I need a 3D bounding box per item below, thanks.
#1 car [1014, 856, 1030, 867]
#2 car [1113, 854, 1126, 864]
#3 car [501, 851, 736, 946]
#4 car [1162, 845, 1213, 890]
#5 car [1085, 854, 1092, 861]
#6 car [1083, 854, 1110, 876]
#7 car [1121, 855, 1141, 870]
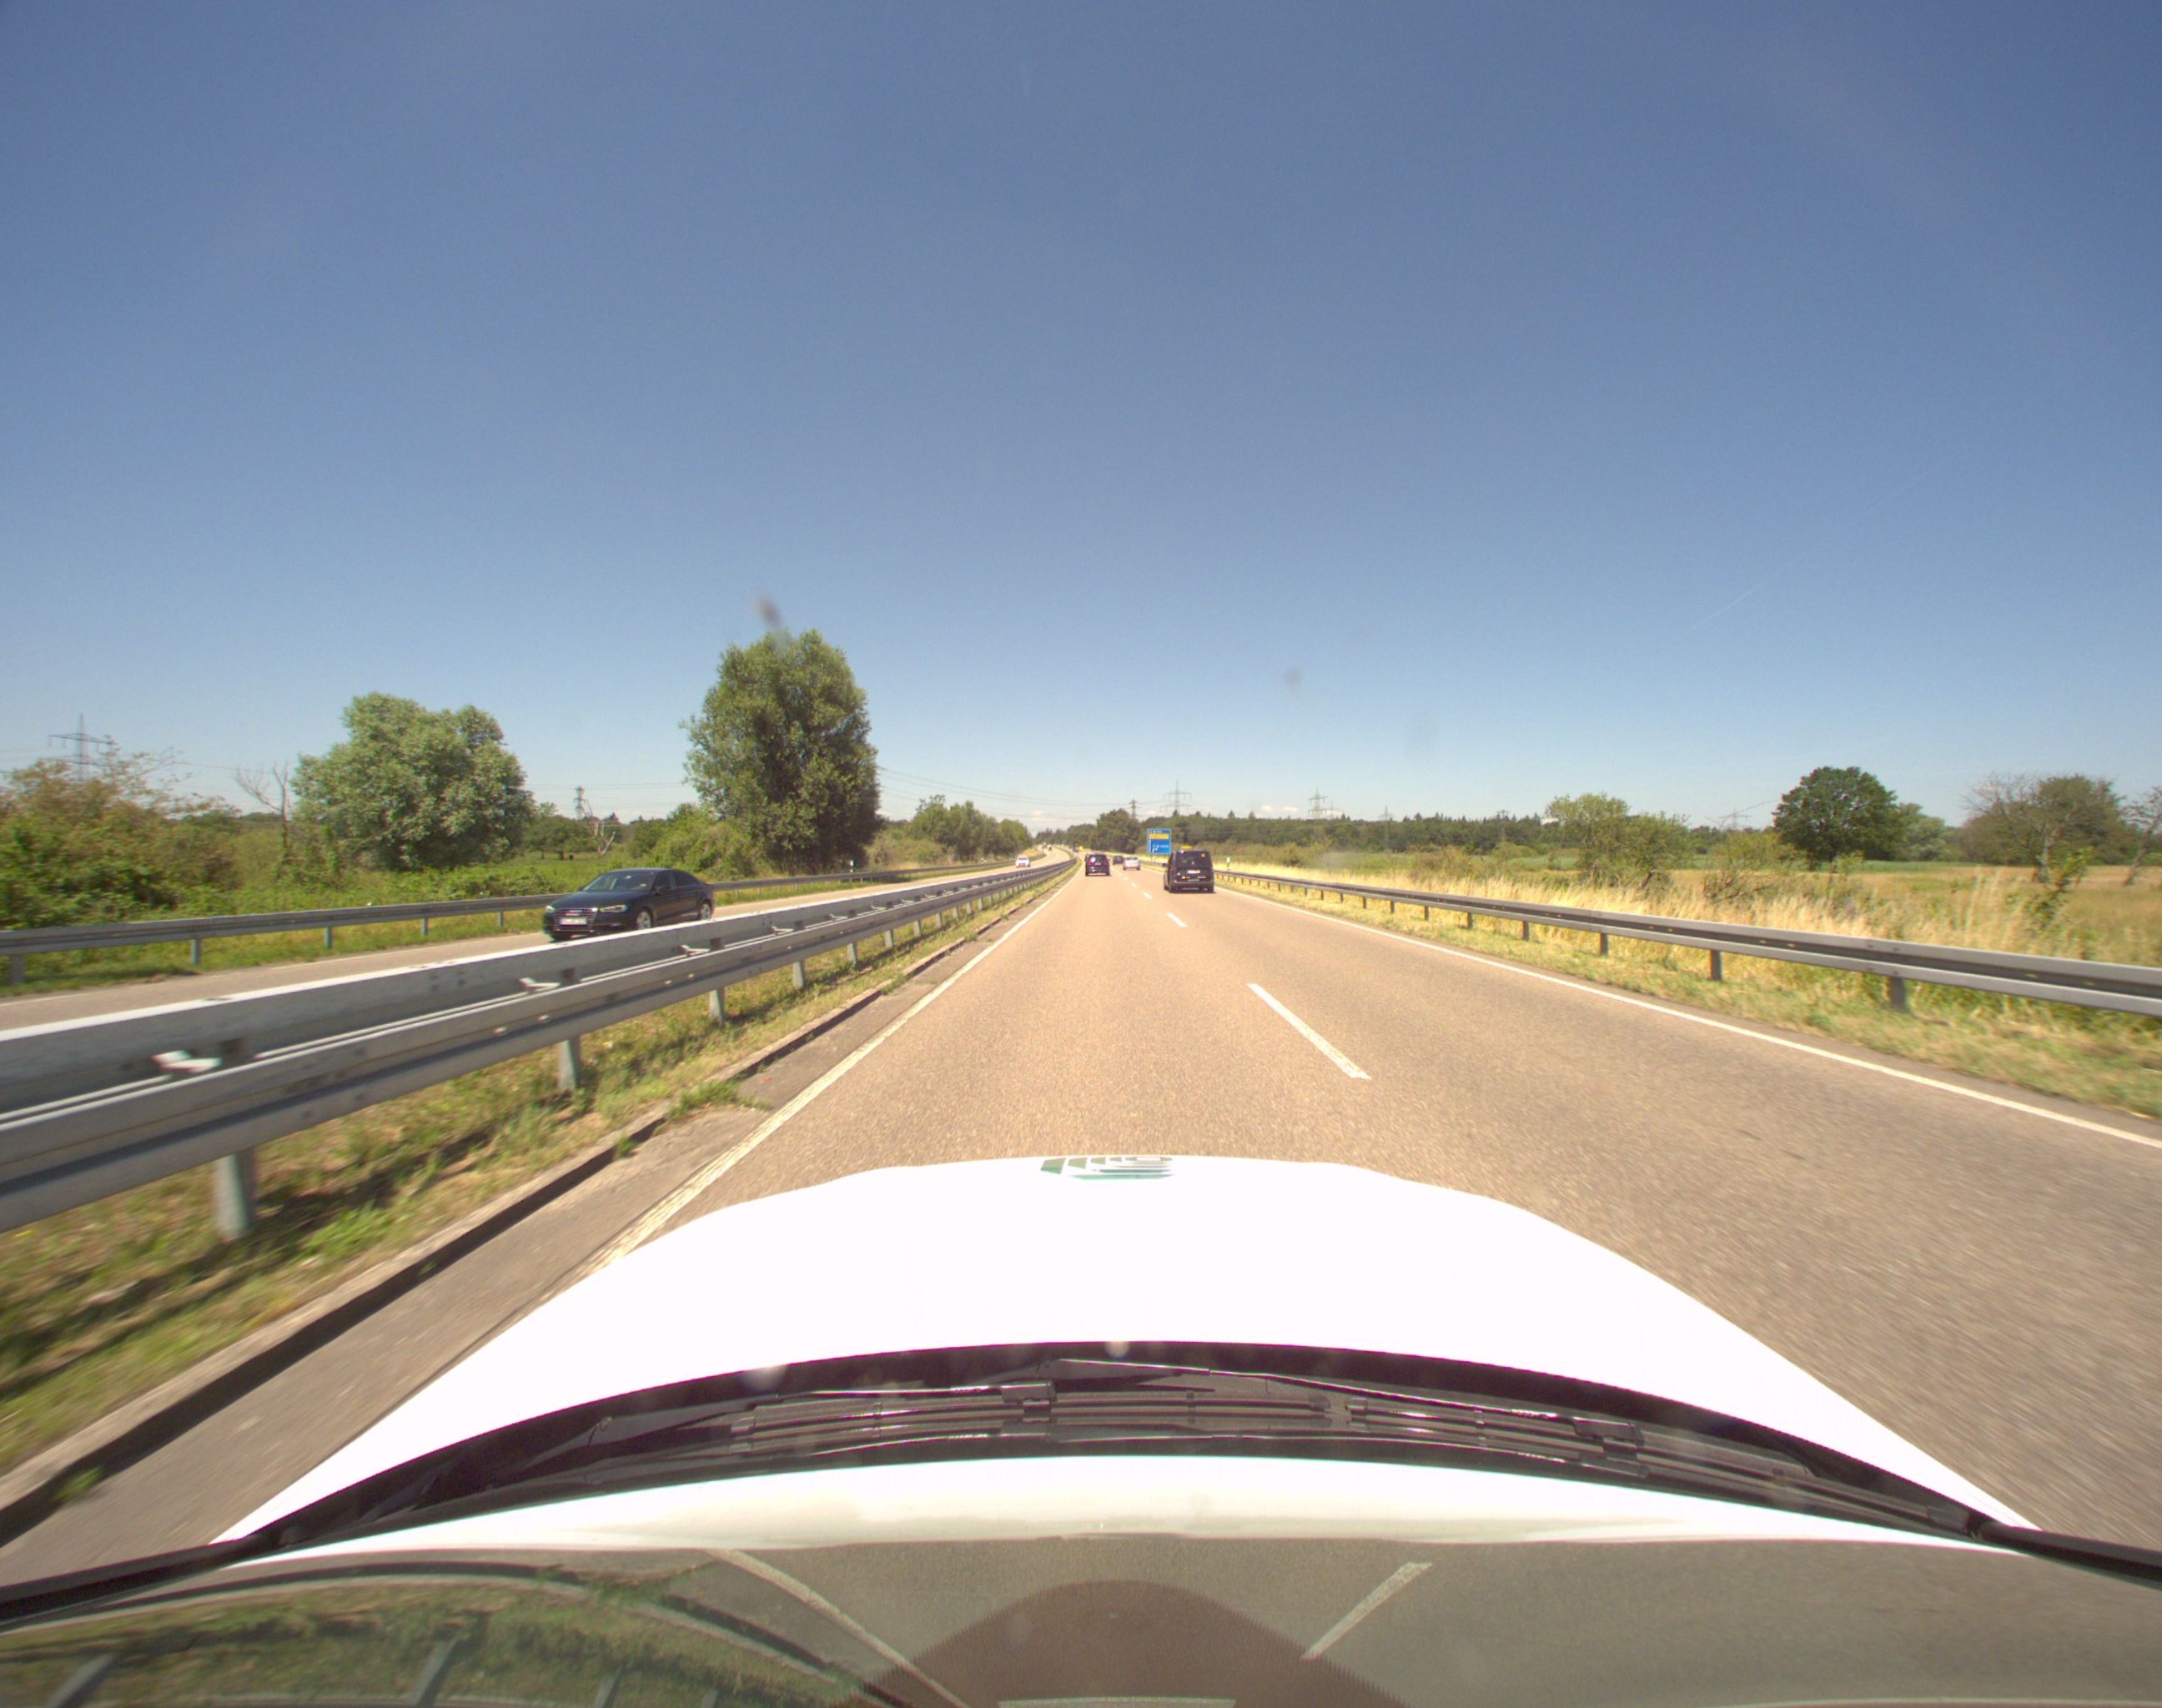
[{"bbox_3d":[-8.075,1.049,112.304,1.821,1.497,4.103,0,0,1],"label":"car"},{"bbox_3d":[5.693,0.775,121.361,1.813,1.414,4.002,-1,0,1],"label":"car"},{"bbox_3d":[-9.407,0.792,17.168,1.986,1.637,4.876,2,0,2],"label":"car"},{"bbox_3d":[4.548,0.521,35.315,1.773,1.817,4.215,-1,0,2],"label":"car"},{"bbox_3d":[1.793,0.761,182.990,1.510,1.475,3.066,2,0,0],"label":"car"},{"bbox_3d":[1.206,0.811,64.012,1.987,1.654,4.000,1,0,0],"label":"car"},{"bbox_3d":[5.170,0.868,84.682,1.773,1.479,4.315,1,0,0],"label":"car"}]
